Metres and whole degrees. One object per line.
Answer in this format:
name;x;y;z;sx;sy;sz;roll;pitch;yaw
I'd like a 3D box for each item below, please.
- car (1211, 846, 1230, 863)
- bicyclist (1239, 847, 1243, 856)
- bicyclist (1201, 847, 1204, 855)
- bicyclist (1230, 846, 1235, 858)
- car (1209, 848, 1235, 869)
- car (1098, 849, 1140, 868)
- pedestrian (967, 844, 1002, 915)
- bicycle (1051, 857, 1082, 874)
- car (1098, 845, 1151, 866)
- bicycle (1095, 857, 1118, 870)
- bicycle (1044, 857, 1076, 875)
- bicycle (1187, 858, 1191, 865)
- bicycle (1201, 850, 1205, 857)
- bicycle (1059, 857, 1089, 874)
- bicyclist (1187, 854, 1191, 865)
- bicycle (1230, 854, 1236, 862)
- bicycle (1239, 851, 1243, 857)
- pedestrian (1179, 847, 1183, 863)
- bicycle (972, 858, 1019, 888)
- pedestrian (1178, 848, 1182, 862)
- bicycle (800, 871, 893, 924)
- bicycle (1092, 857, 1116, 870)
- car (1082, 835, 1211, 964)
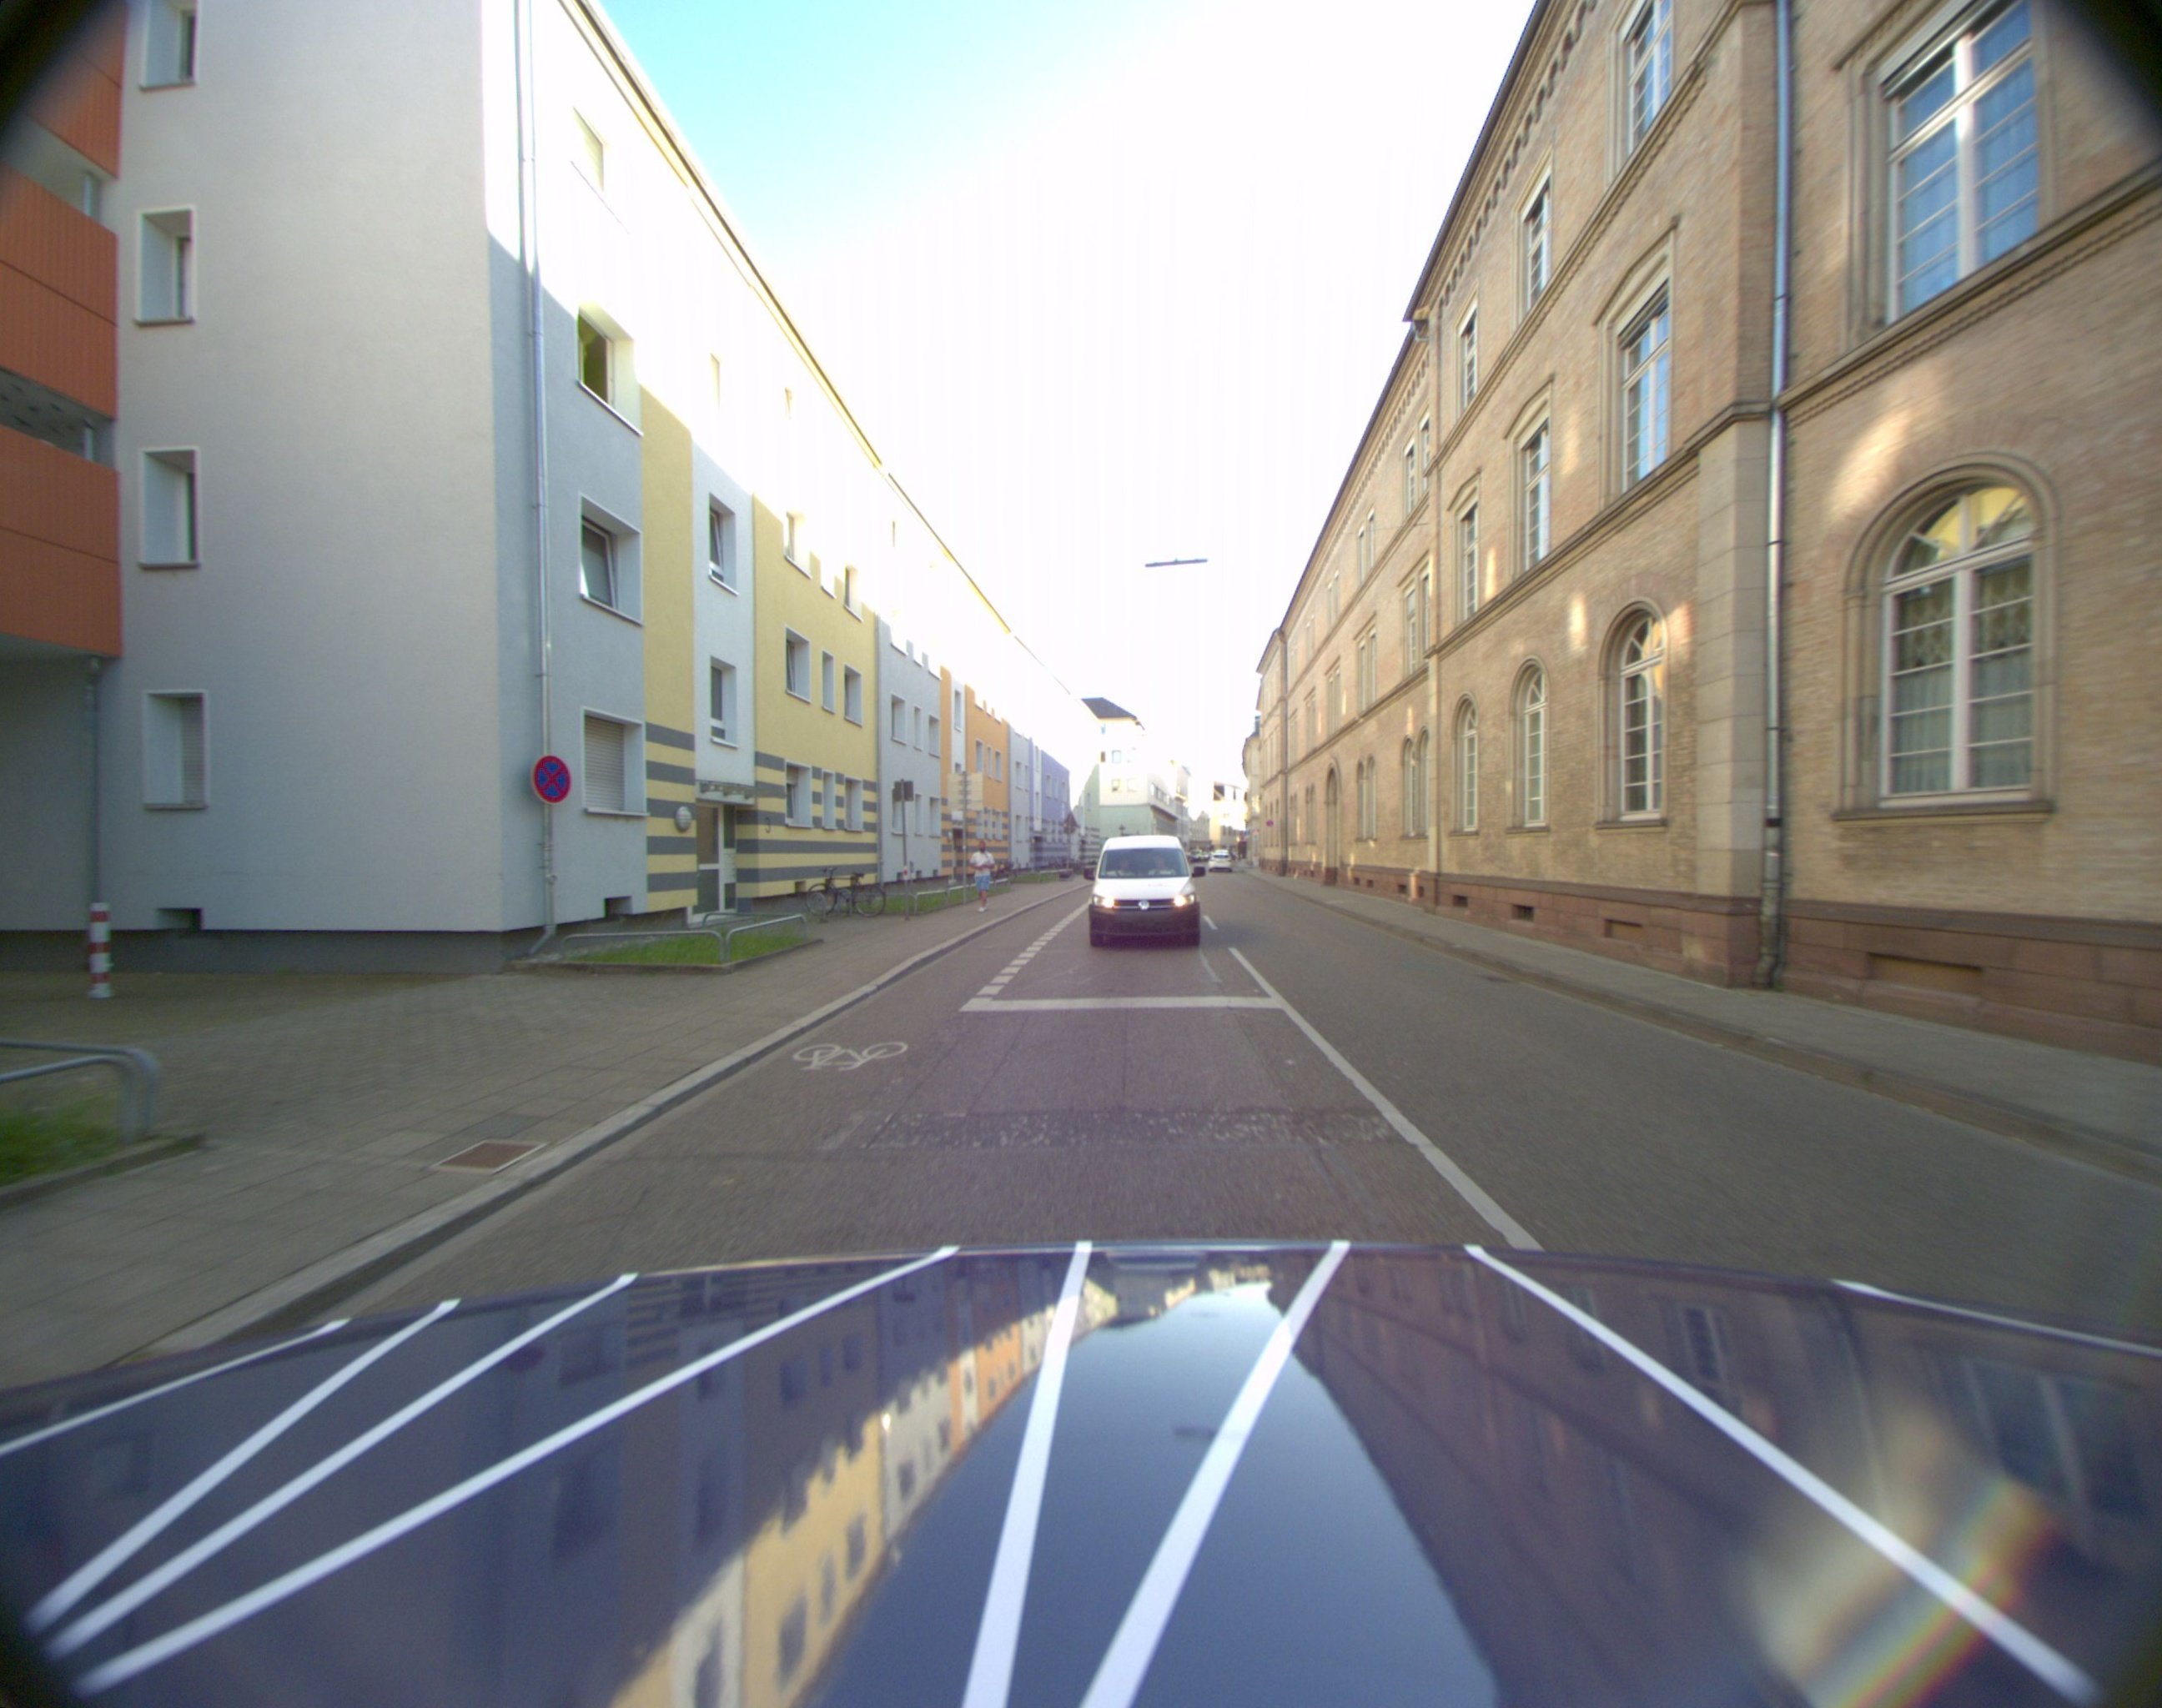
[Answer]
car;13.210;0.023;71.929;1.688;1.573;4.278;2;1;11
bicyclist;27.117;-0.460;128.605;0.651;1.500;1.112;2;1;14
bicyclist;18.689;-0.423;116.785;0.548;1.204;0.584;0;1;10
bicyclist;18.523;-0.220;92.703;0.604;1.434;0.579;0;1;9
car;10.881;0.335;58.820;1.890;1.467;4.548;2;1;9
car;3.838;0.428;76.364;3.994;1.682;1.902;-2;1;9
pedestrian;-2.330;0.605;18.411;0.644;1.662;0.834;1;1;7
bicycle;-0.865;0.677;46.349;1.774;0.990;0.584;2;1;12
car;4.171;0.115;72.657;4.760;1.927;2.002;0;1;13
bicycle;2.016;0.751;60.587;1.774;0.934;0.584;2;1;12
bicycle;-1.241;0.699;45.031;1.774;0.990;0.584;2;1;12
bicycle;11.017;0.790;77.443;0.348;0.719;1.118;0;1;8
bicycle;18.707;-0.020;116.875;0.548;1.076;1.965;0;1;10
bicycle;-0.431;0.709;46.934;1.774;0.934;0.584;2;1;12
bicyclist;11.015;0.569;77.444;0.348;1.101;0.368;0;1;8
bicycle;18.538;0.440;92.723;0.608;0.922;2.266;0;1;9
bicycle;27.087;0.030;128.618;0.651;1.001;1.877;2;1;13
pedestrian;10.937;0.109;83.121;0.508;1.752;0.412;0;1;9
bicycle;-3.406;0.742;30.391;1.776;1.118;0.584;1;1;3
pedestrian;11.224;0.100;86.103;0.508;1.551;0.412;0;1;9
bicycle;-4.956;0.906;16.132;1.776;1.043;0.583;1;1;0
bicycle;1.822;0.734;59.059;1.774;0.934;0.584;2;1;12
car;1.166;0.634;13.505;1.818;1.826;5.343;0;0;5
